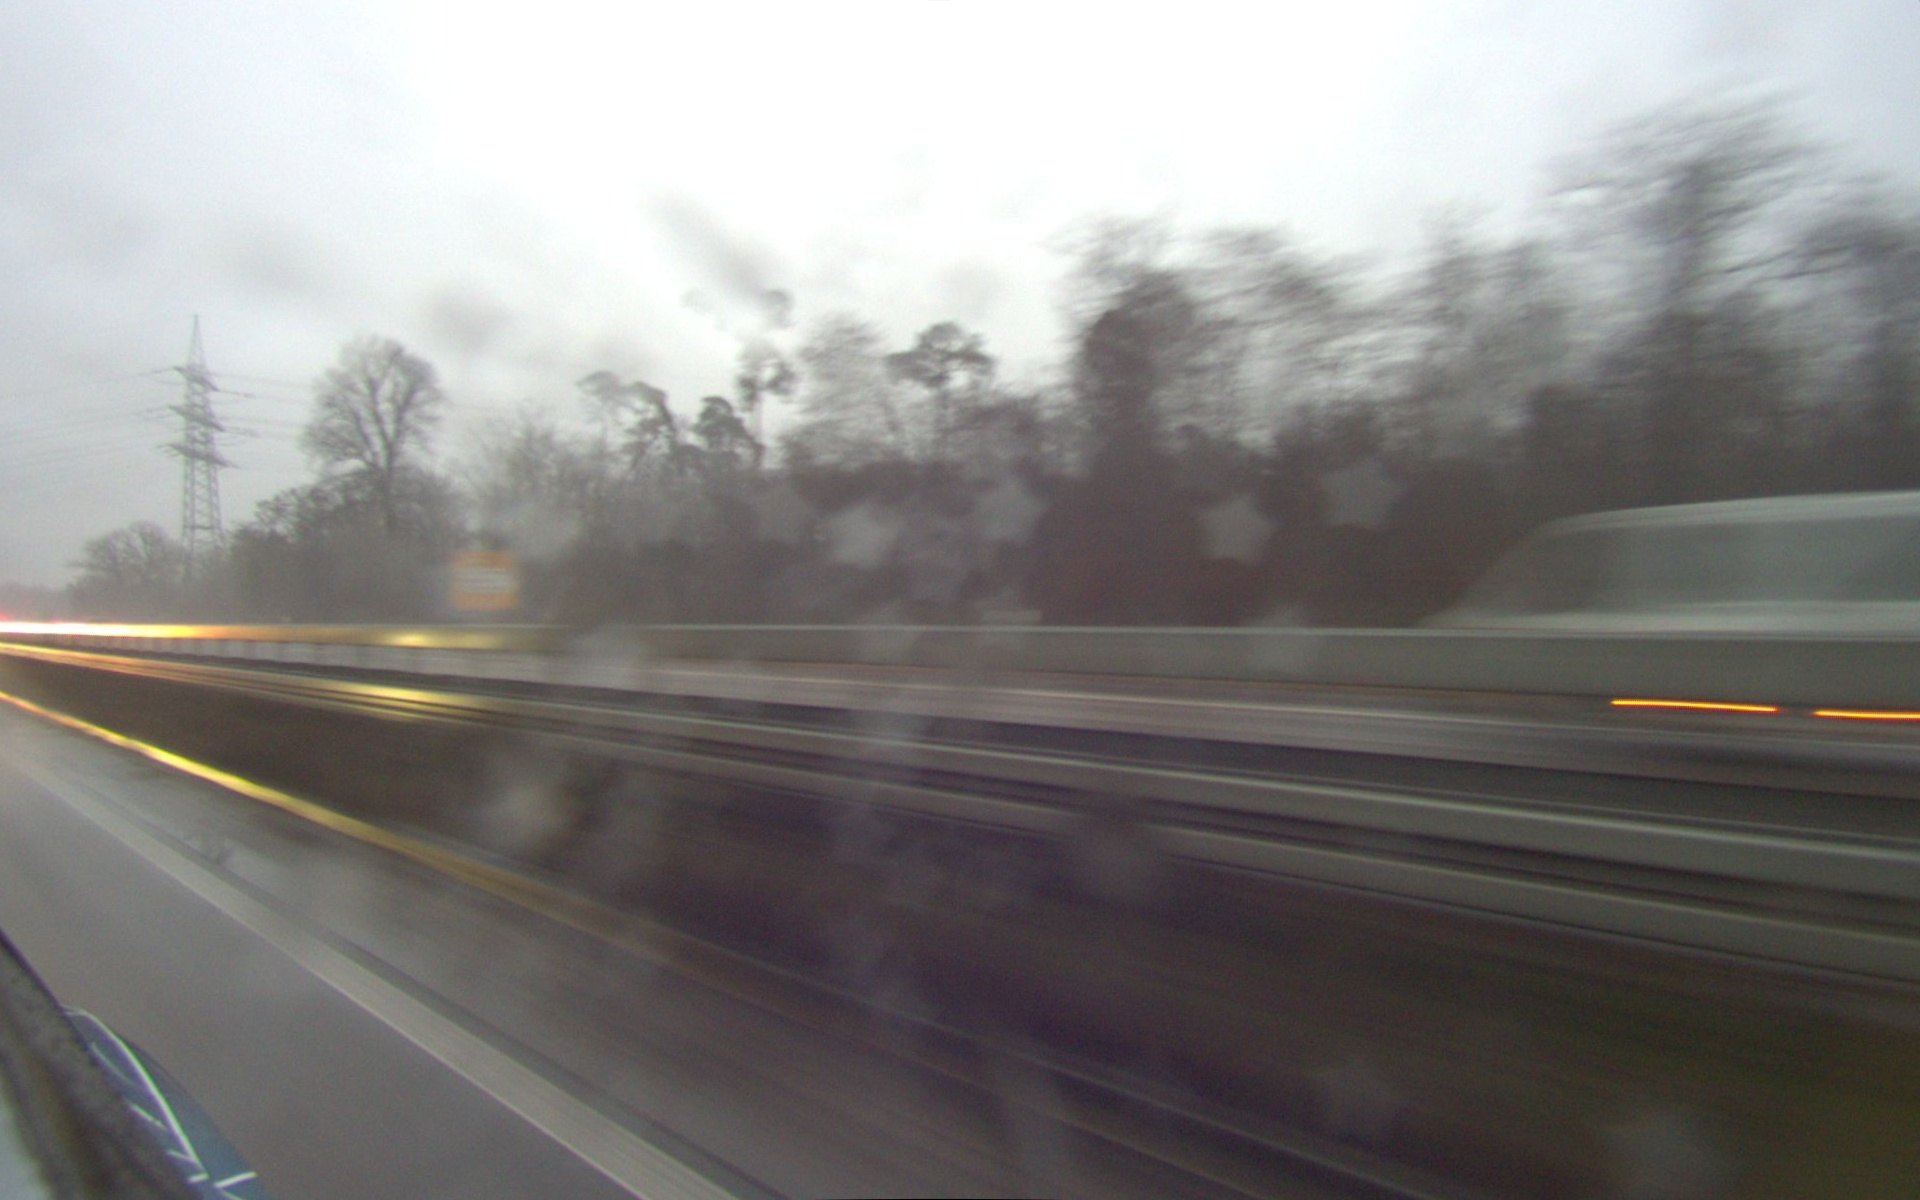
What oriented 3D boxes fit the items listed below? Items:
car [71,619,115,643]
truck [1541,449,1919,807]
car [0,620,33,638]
[{"bbox_3d":[-51.836,1.833,60.488,4.052,1.407,1.483,-1,-1,41],"label":"car"},{"bbox_3d":[8.448,0.164,7.317,7.075,2.560,2.230,0,2,41],"label":"truck"},{"bbox_3d":[-81.227,2.457,87.043,4.415,1.471,1.709,-1,-1,41],"label":"car"}]
